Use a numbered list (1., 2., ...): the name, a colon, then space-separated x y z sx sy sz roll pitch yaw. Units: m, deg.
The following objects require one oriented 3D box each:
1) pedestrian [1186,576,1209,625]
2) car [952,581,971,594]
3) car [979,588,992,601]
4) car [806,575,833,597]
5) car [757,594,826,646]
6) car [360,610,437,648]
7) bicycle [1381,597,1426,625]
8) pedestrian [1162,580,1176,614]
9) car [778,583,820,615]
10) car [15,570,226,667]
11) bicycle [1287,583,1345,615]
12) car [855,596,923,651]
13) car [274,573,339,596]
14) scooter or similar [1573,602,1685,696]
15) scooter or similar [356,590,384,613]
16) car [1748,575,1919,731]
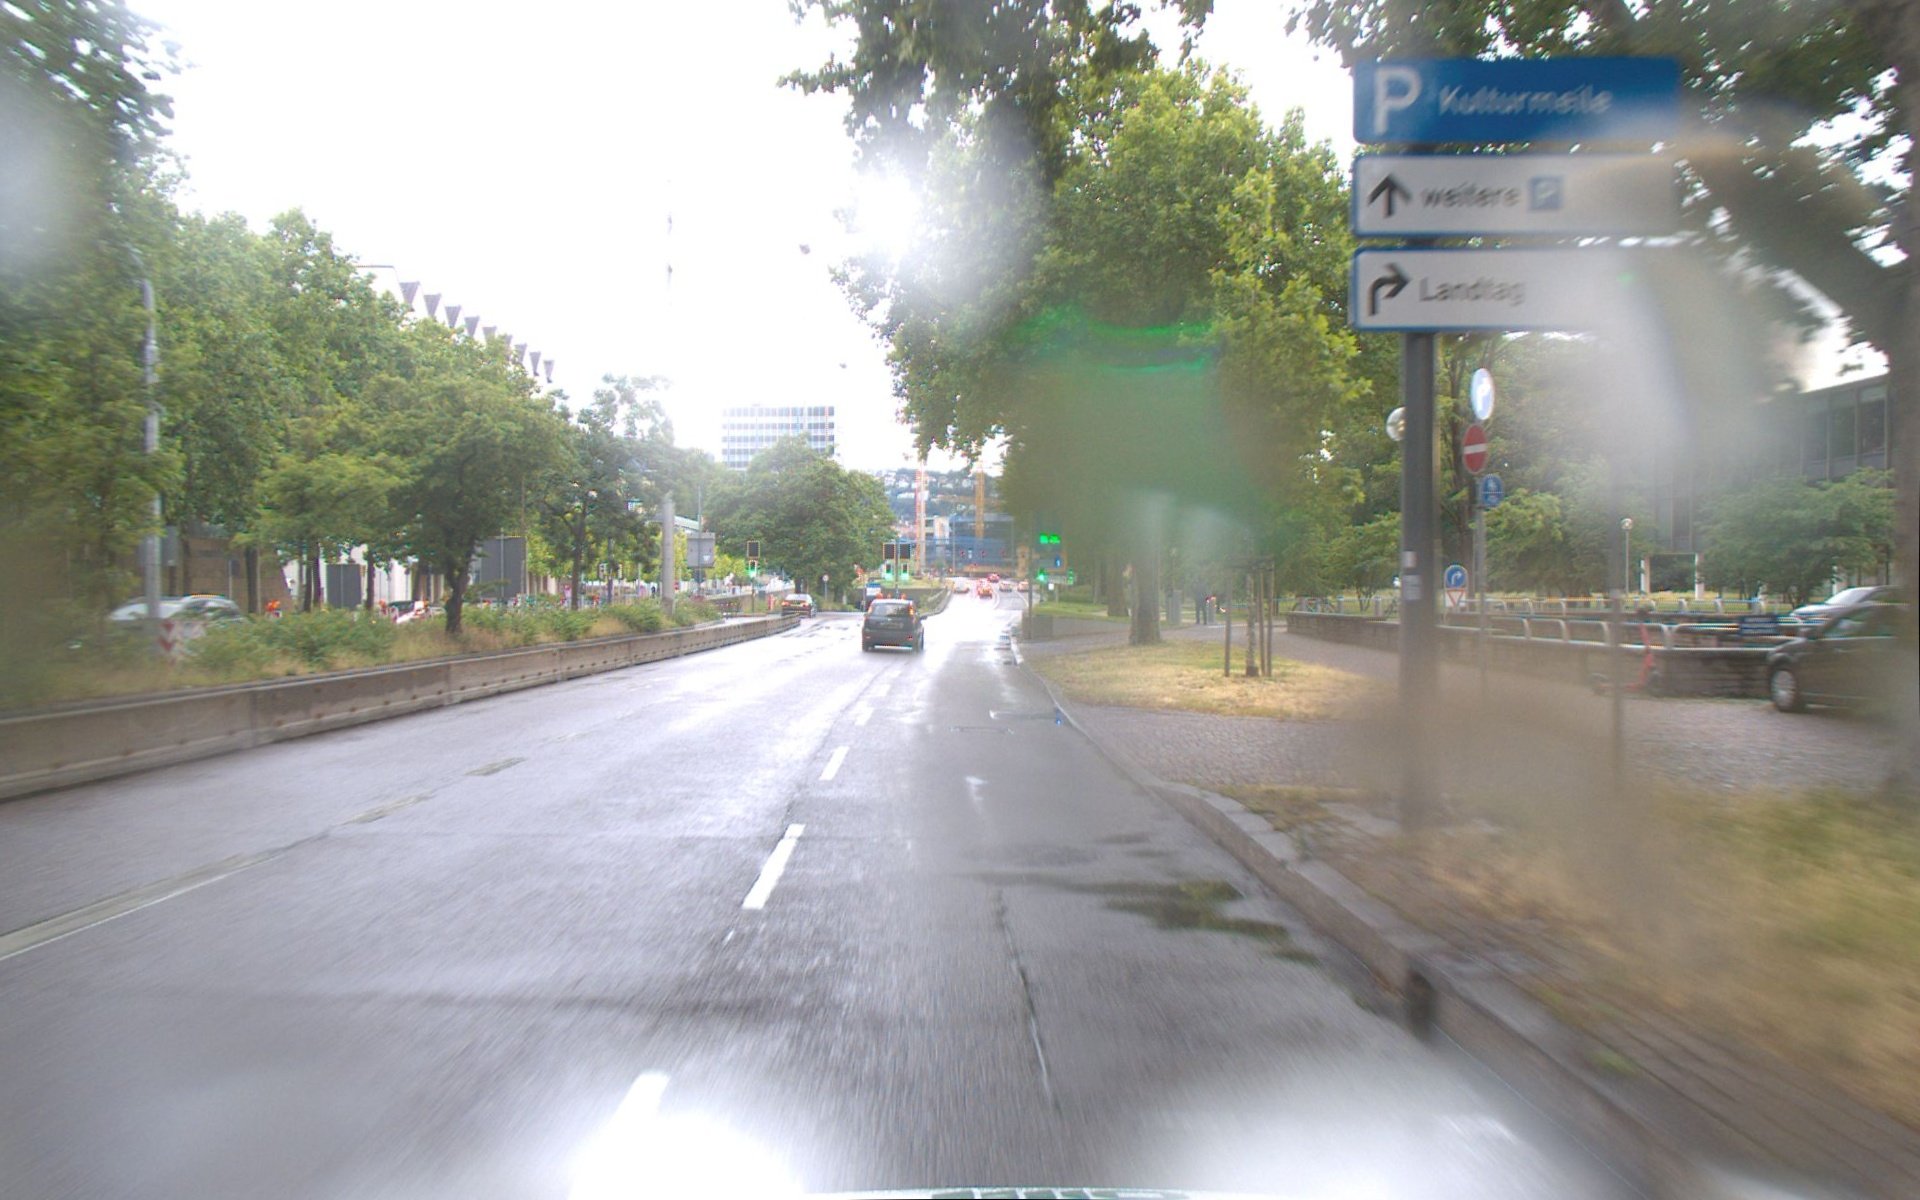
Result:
1. pedestrian: 8.625 0.016 60.018 0.690 1.748 0.692 -2 0 1
2. car: 0.220 -1.892 251.011 2.172 2.049 4.004 0 0 9
3. car: 3.502 -0.747 226.060 1.703 1.802 4.000 -2 -1 0
4. car: -10.847 -1.087 127.781 1.954 1.661 3.997 0 0 -4
5. car: -5.139 0.588 50.852 1.718 1.477 3.999 1 1 -1
6. car: -24.679 1.250 72.805 1.952 1.557 4.000 -2 -1 1
7. bicycle: 17.958 0.446 67.016 1.609 1.104 0.709 0 1 -5
8. pedestrian: 10.977 -0.173 87.044 0.582 1.786 0.725 -1 1 -2
9. car: -9.415 -0.077 97.185 1.952 1.812 4.001 0 1 2
10. car: -14.906 0.296 29.628 1.954 1.624 3.997 0 0 -4
11. bicycle: 13.652 -0.059 63.451 1.997 1.194 0.958 0 1 -10
12. car: -2.060 0.660 47.235 1.808 1.441 3.836 -1 -1 -4
13. car: -47.255 -1.106 119.595 3.906 1.624 1.999 0 0 -2
14. scooter or similar: 9.395 0.668 23.277 0.536 1.277 1.421 -1 1 -32
15. scooter or similar: -37.306 0.095 104.570 0.697 1.375 1.675 -2 -1 21
16. car: 11.306 0.575 18.901 1.953 1.637 5.235 1 2 -2
